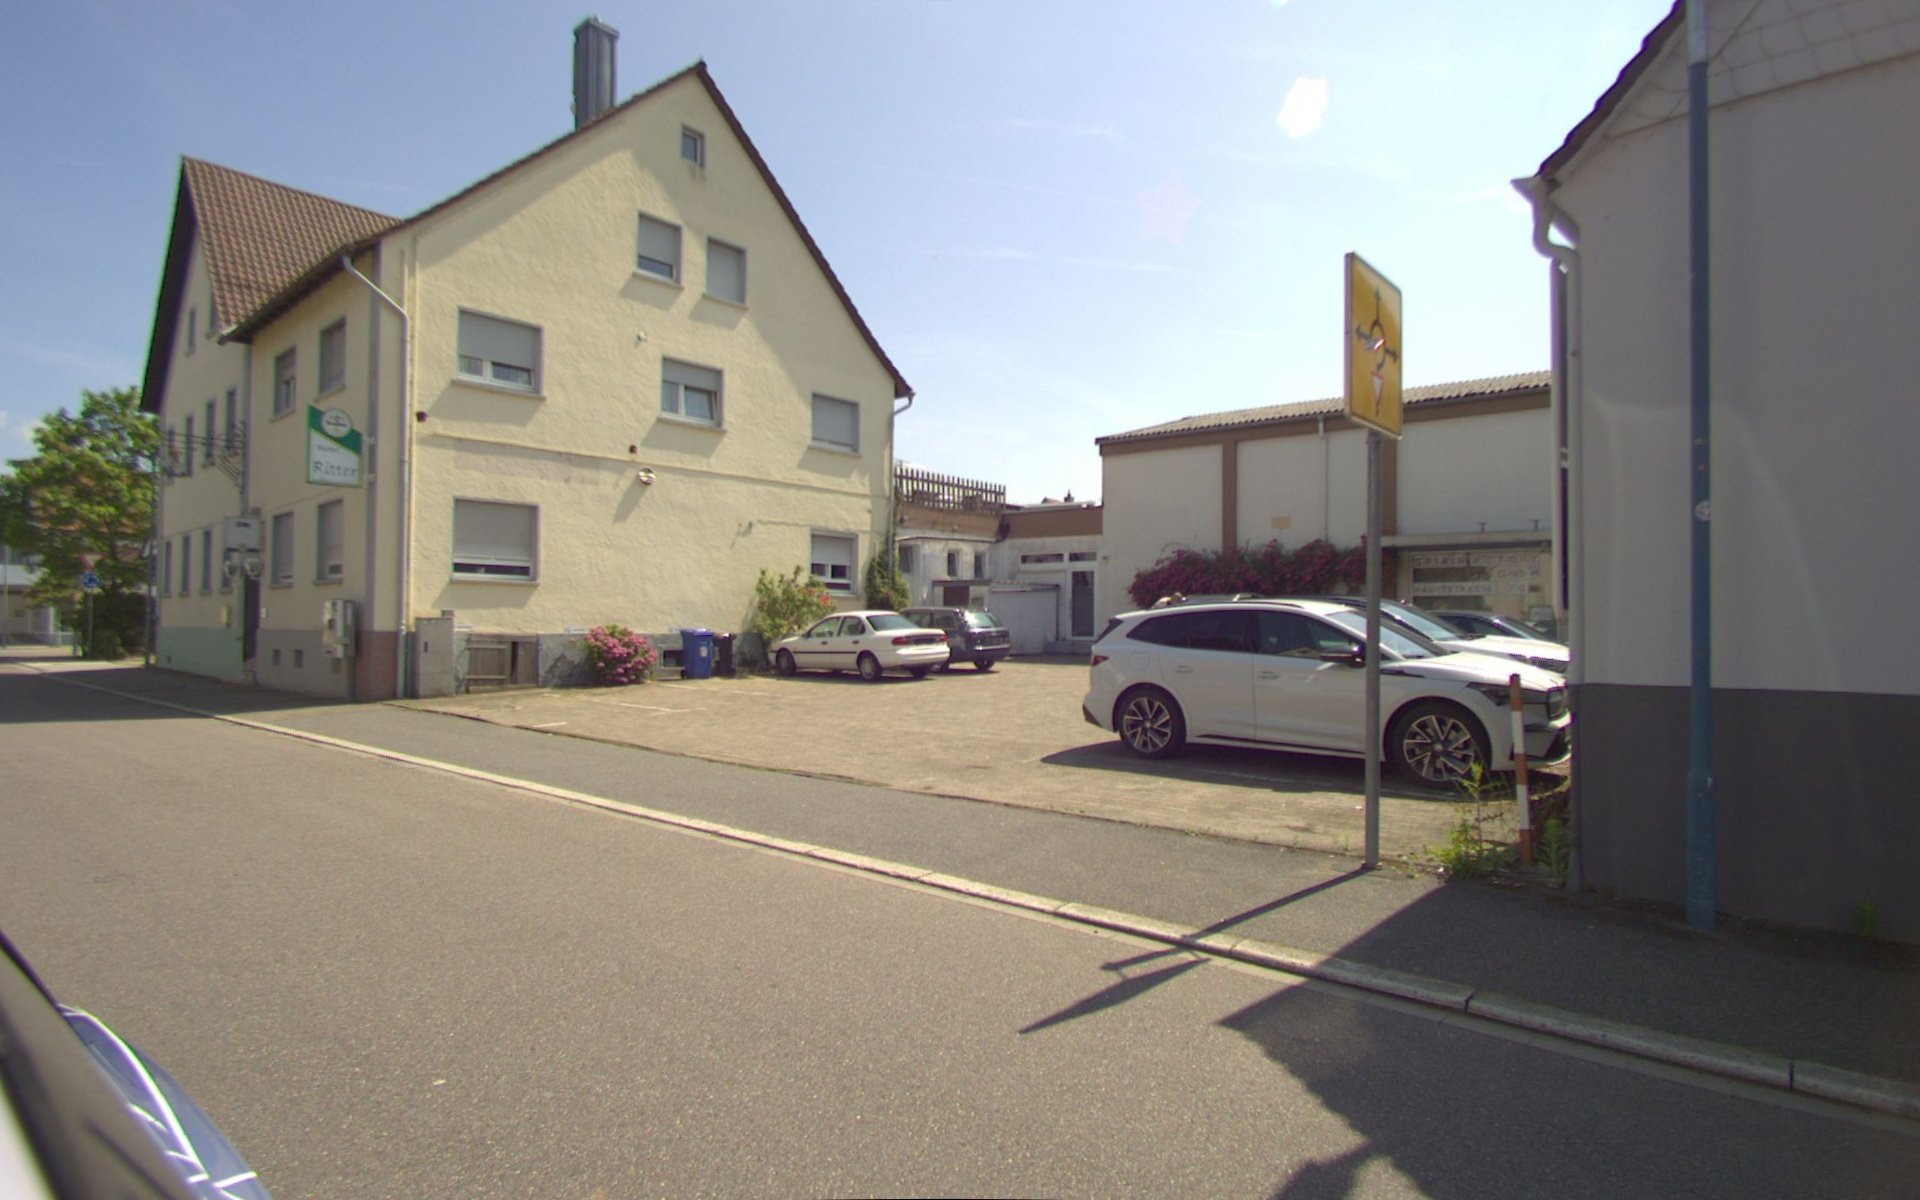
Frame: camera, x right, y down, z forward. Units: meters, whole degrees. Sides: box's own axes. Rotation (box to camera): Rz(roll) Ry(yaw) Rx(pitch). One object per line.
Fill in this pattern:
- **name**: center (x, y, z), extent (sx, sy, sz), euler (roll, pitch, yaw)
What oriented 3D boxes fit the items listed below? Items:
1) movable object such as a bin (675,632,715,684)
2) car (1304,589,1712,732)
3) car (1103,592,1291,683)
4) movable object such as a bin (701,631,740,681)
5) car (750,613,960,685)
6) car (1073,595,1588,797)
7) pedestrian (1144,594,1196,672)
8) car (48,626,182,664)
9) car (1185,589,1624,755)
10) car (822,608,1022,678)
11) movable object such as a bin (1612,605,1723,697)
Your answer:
- **movable object such as a bin**: center (-5.758, 1.242, 21.963), extent (0.680, 1.080, 0.571), euler (-1, -1, 42)
- **car**: center (7.081, 0.711, 13.376), extent (4.476, 1.582, 1.756), euler (-1, -1, 40)
- **car**: center (5.187, 0.752, 21.716), extent (2.036, 1.738, 4.632), euler (-1, -1, 41)
- **movable object such as a bin**: center (-5.333, 1.236, 22.506), extent (0.680, 1.080, 0.571), euler (-1, -1, 42)
- **car**: center (-2.392, 1.004, 22.088), extent (4.828, 1.390, 1.805), euler (-1, -1, 42)
- **car**: center (3.480, 0.787, 10.022), extent (4.474, 1.582, 1.756), euler (-1, -1, 39)
- **pedestrian**: center (4.623, 0.720, 22.296), extent (0.817, 1.670, 0.787), euler (0, -1, -16)
- **car**: center (-38.656, 2.010, 46.414), extent (1.798, 1.631, 4.409), euler (-1, -1, 25)
- **car**: center (5.127, 0.743, 12.061), extent (4.476, 1.632, 1.756), euler (-1, -1, 40)
- **car**: center (-0.991, 0.950, 23.872), extent (4.828, 1.492, 1.805), euler (-1, -1, 42)
- **movable object such as a bin**: center (10.768, 0.744, 15.397), extent (1.211, 1.310, 1.373), euler (-1, -1, 42)
